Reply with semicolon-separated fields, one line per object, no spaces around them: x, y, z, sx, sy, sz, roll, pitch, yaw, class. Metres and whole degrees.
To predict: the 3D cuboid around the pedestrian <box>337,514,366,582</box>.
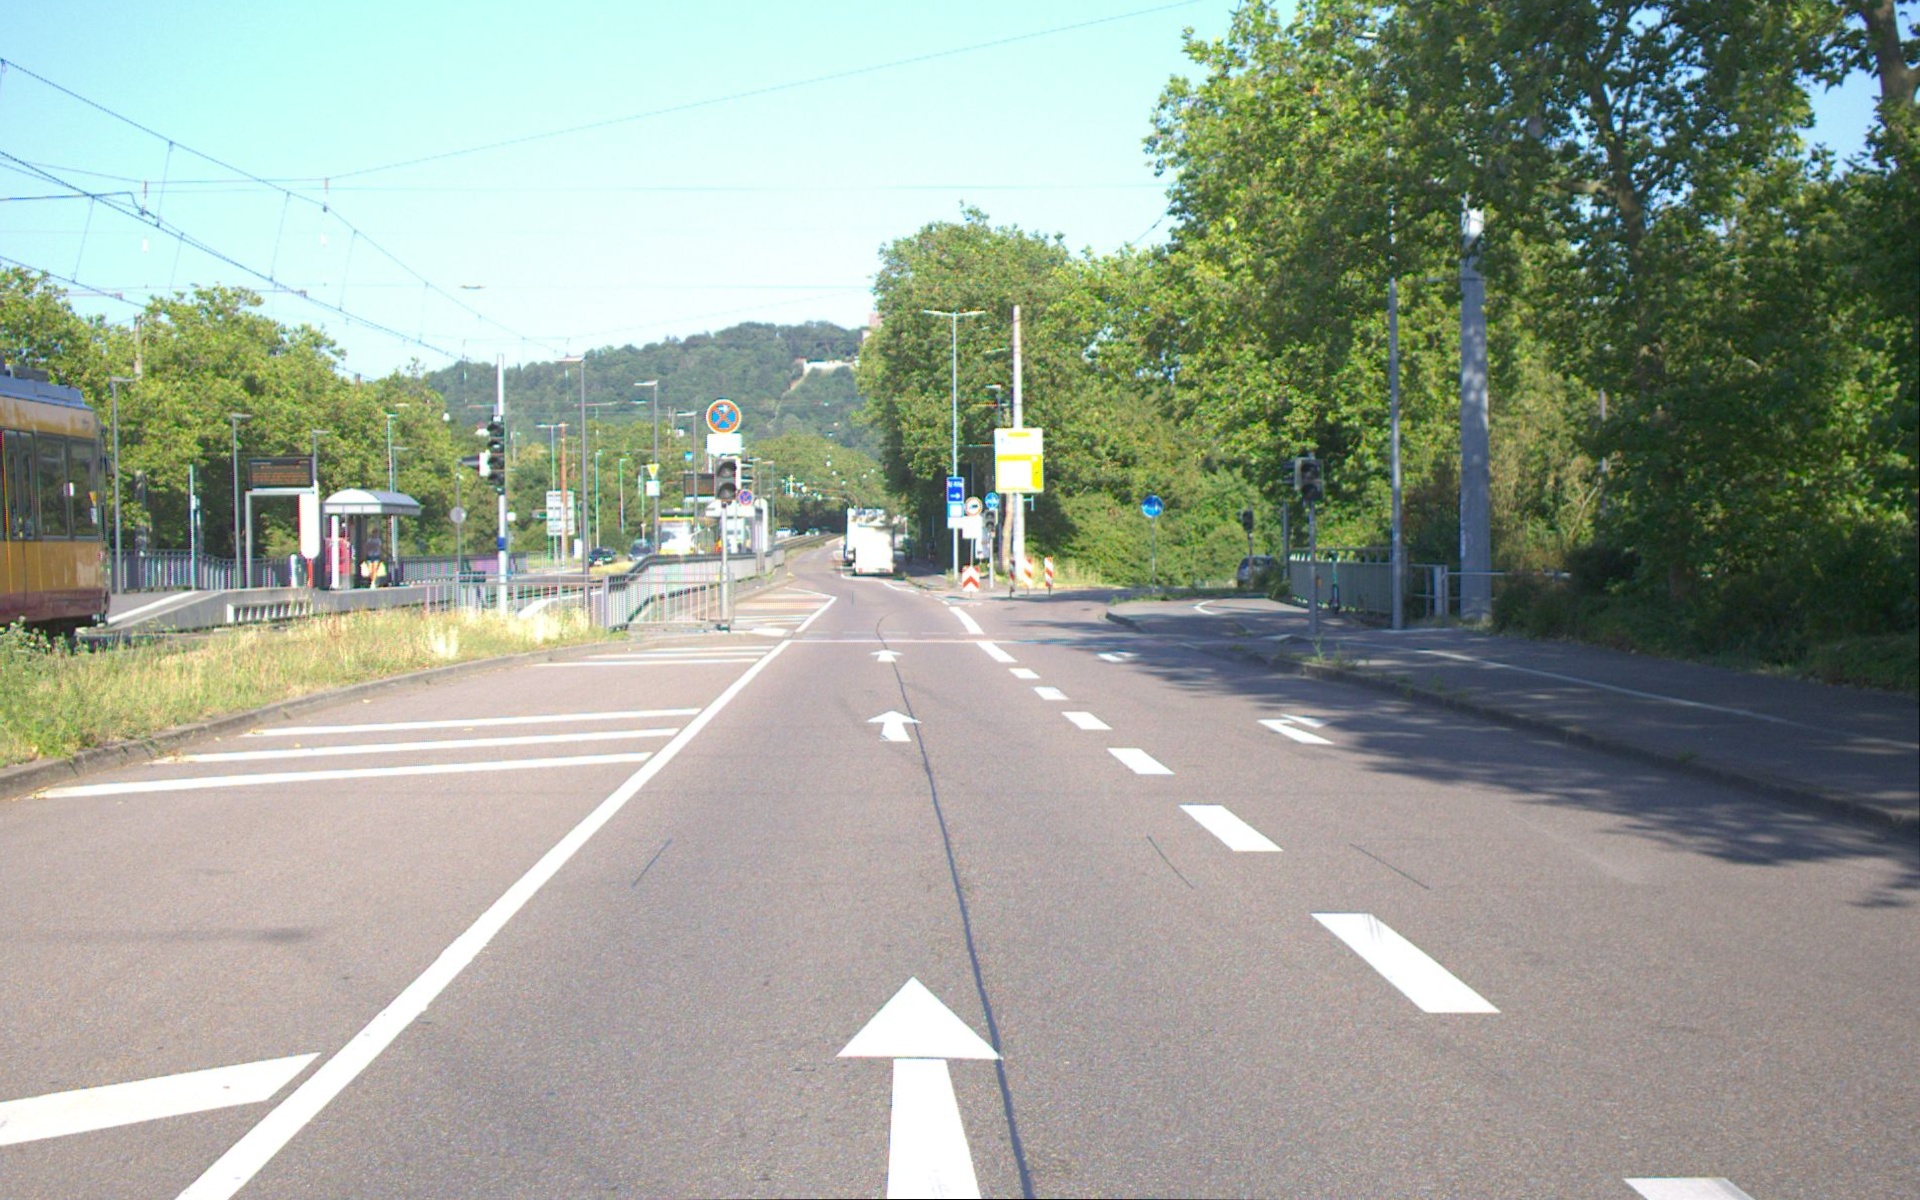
-18.226;-1.551;103.021;0.744;2.007;0.608;1;1;0;pedestrian

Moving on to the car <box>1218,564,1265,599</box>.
12.787;-0.858;155.928;2.087;1.560;3.954;1;1;5;car

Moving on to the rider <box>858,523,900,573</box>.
-4.246;-2.731;180.689;2.109;2.638;0.736;0;1;5;rider

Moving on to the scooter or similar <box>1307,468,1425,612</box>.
7.933;-1.173;67.489;1.681;2.706;4.869;0;1;-1;scooter or similar

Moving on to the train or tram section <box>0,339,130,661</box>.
-13.198;-1.263;43.801;2.824;3.937;10.835;1;1;-1;train or tram section
